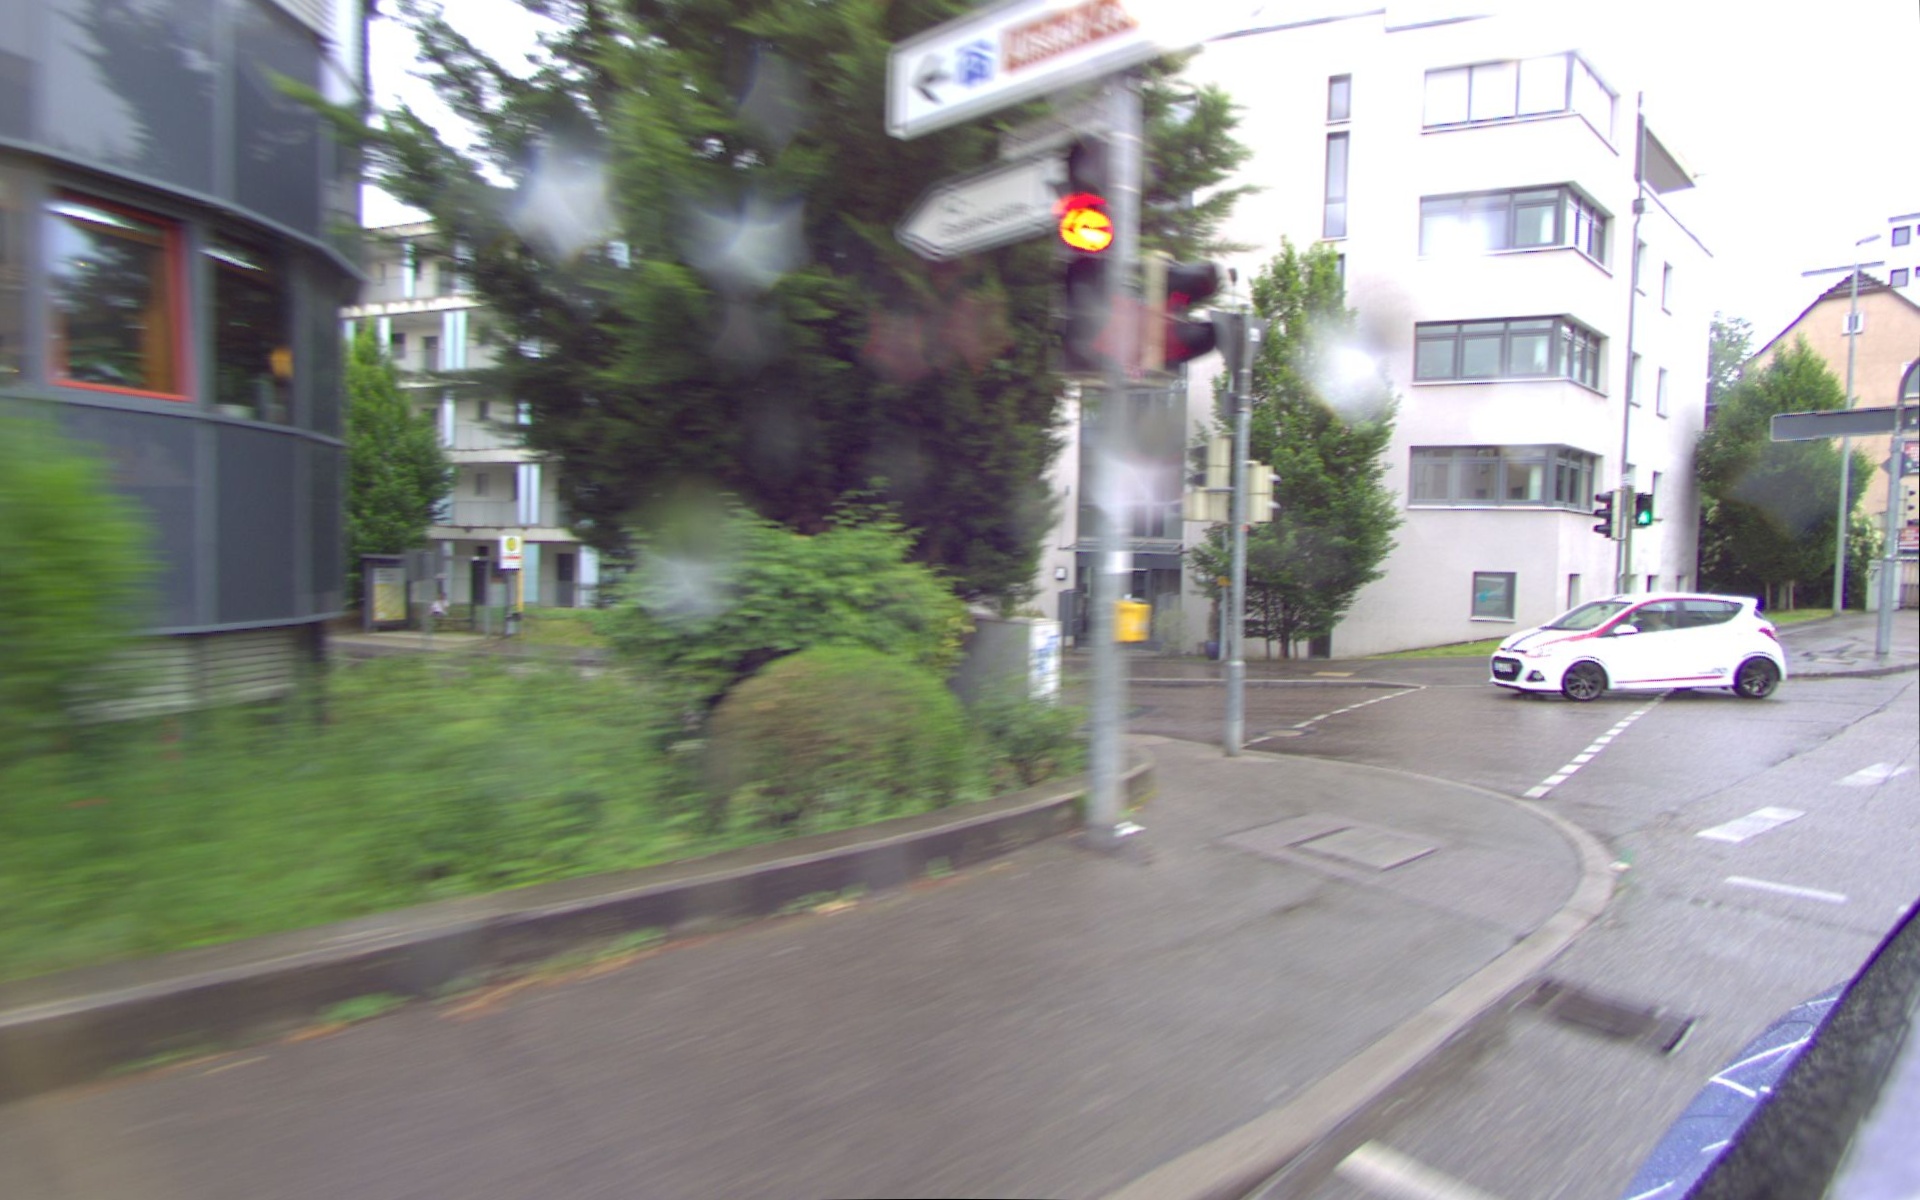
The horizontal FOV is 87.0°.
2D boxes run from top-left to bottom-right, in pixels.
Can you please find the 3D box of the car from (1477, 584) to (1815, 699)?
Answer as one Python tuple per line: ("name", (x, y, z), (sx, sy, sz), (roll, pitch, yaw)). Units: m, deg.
("car", (9.885, 0.561, 14.806), (3.694, 1.471, 1.711), (-2, 0, 2))
